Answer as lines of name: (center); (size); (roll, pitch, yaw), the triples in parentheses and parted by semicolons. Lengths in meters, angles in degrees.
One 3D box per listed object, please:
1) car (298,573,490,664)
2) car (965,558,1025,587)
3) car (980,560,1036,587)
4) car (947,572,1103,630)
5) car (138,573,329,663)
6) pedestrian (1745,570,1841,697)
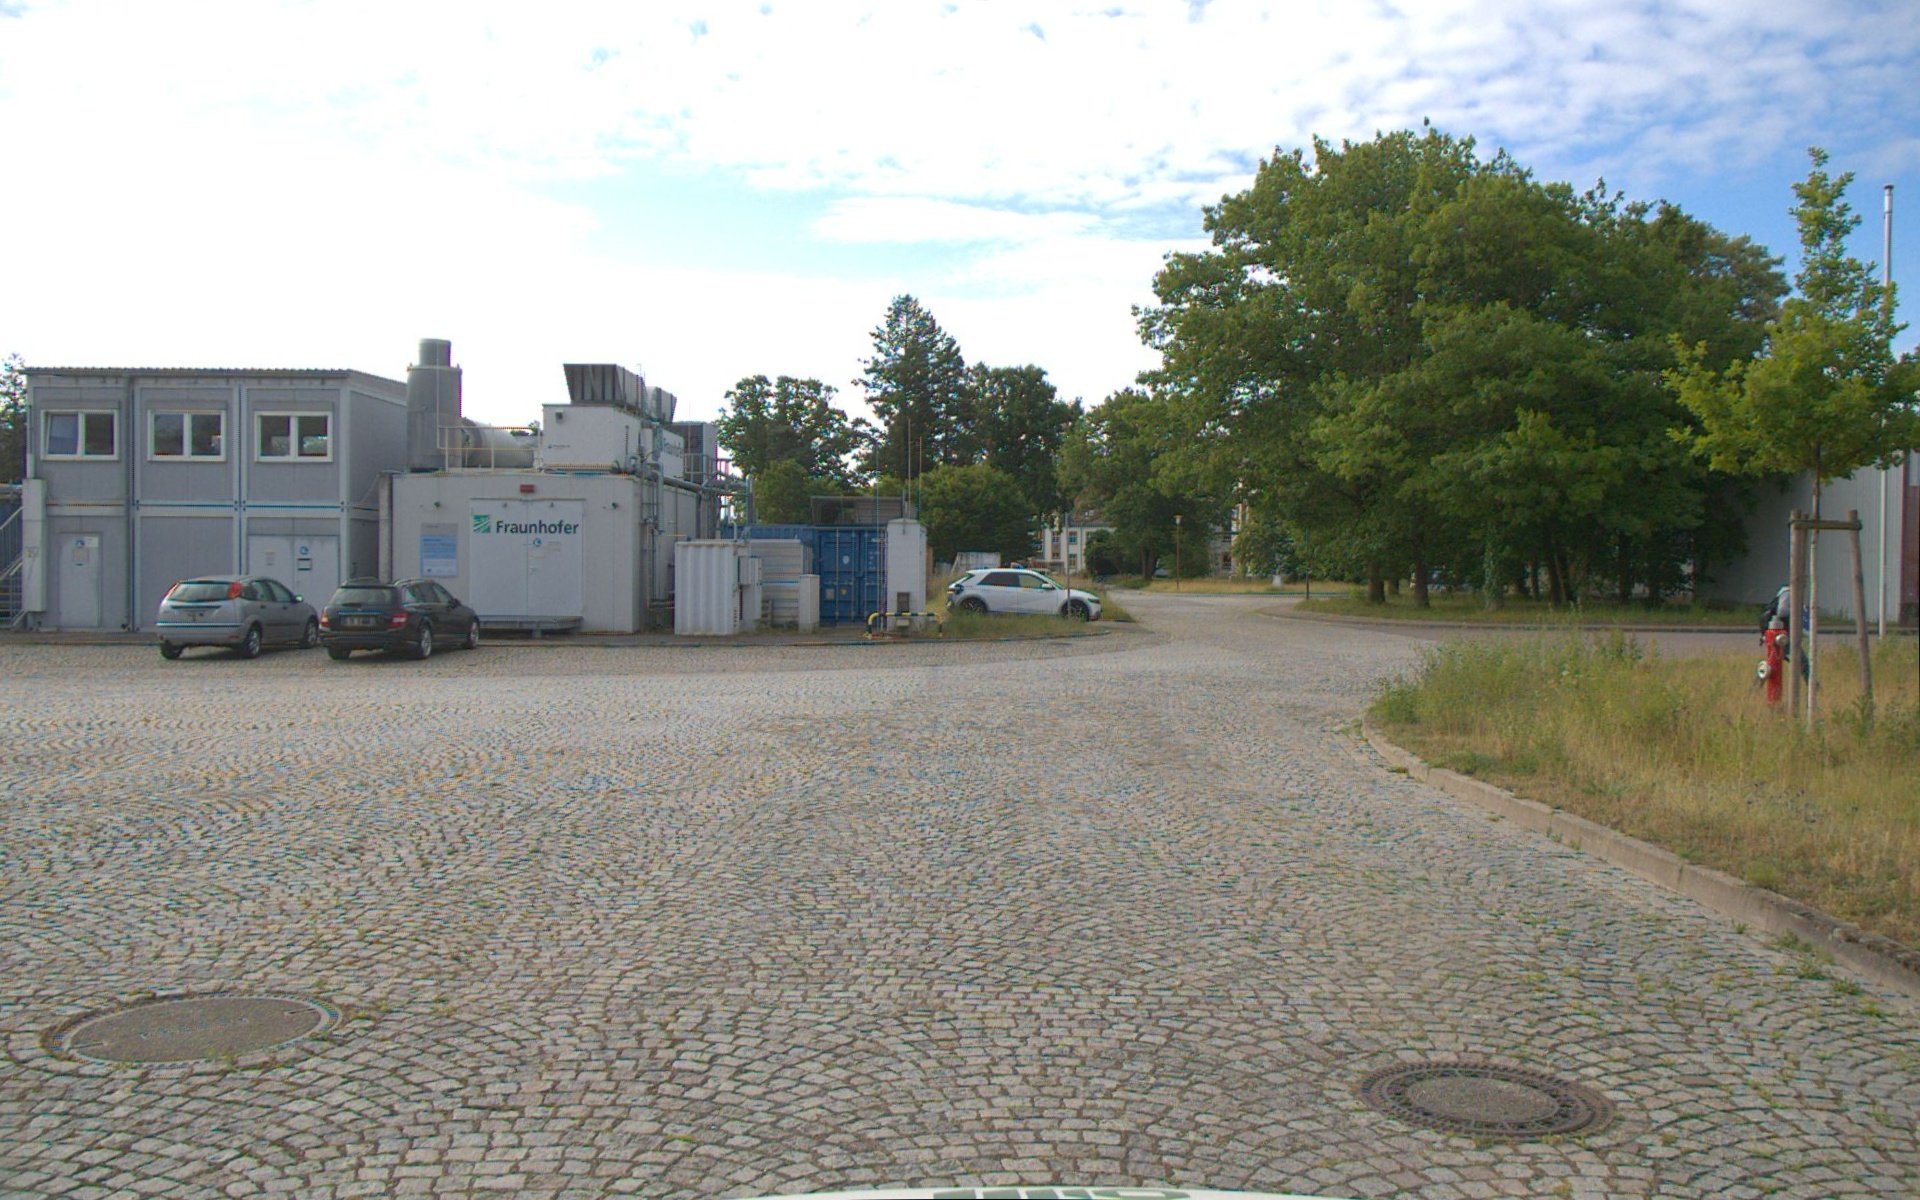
car: (-10.610, 0.295, 31.397); (1.994, 1.478, 4.531); (0, 2, 1)
car: (2.979, -2.322, 140.230); (5.063, 2.378, 2.000); (0, 1, 1)
car: (4.356, -2.382, 149.768); (5.063, 2.378, 2.000); (0, 1, 1)
car: (1.913, 0.008, 48.198); (4.439, 1.627, 2.001); (0, 1, 4)
car: (-13.715, 0.291, 31.506); (1.867, 1.501, 4.047); (0, 2, -1)
pedestrian: (10.721, 0.404, 21.328); (1.054, 1.583, 1.074); (0, 1, 25)
